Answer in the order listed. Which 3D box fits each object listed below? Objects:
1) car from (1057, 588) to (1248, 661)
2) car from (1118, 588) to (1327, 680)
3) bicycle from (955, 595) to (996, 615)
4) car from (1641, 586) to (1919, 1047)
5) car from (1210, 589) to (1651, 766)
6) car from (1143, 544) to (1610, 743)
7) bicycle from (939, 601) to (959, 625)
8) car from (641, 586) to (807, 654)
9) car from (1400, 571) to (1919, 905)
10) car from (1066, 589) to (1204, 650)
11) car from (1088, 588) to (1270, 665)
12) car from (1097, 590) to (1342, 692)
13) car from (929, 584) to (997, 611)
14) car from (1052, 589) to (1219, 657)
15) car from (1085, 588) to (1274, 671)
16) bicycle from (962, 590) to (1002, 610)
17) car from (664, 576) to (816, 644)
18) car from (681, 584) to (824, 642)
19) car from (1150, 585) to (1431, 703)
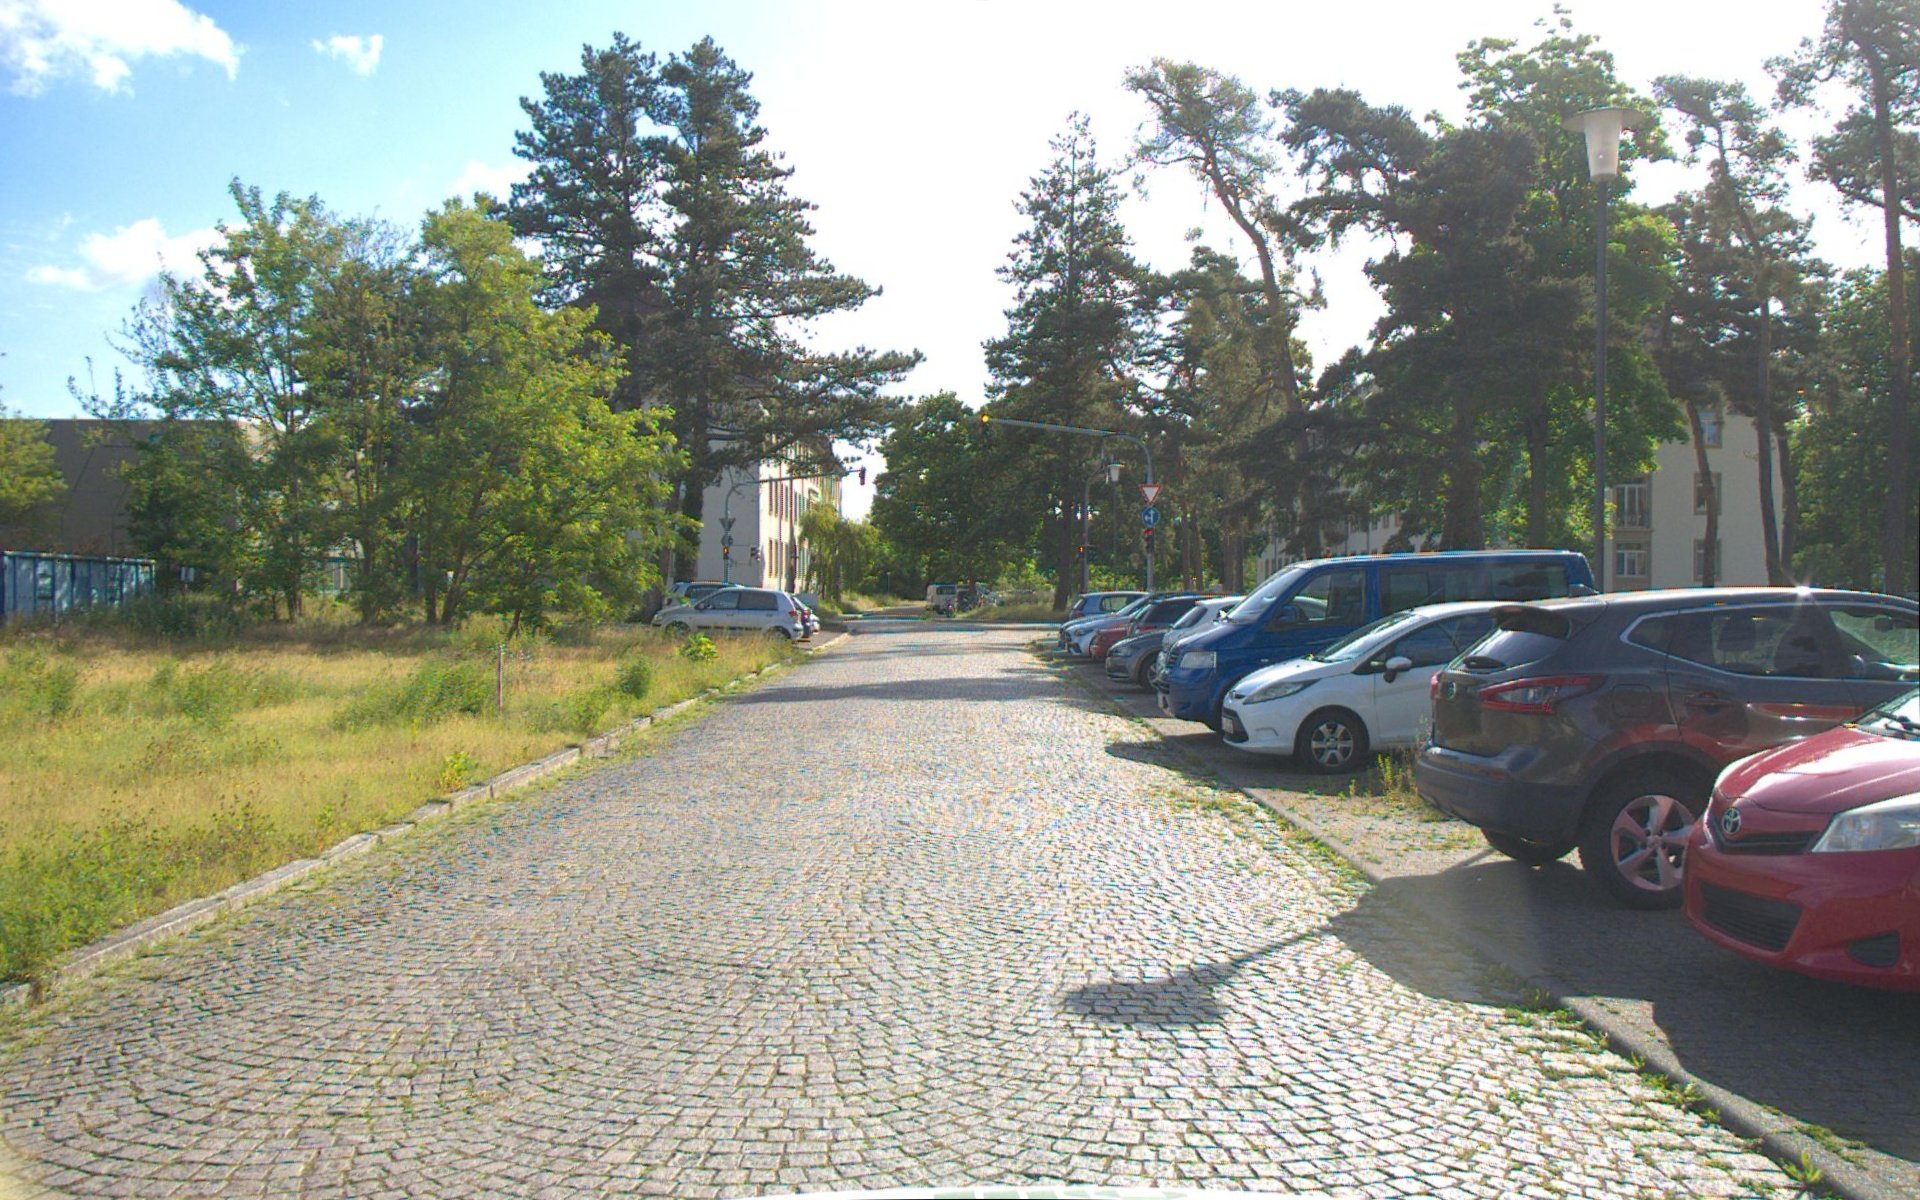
[{"bbox_3d":[4.200,0.519,36.415,3.955,1.556,1.644,0,0,-4],"label":"car"},{"bbox_3d":[4.591,0.574,29.189,3.408,1.556,1.645,0,0,-2],"label":"car"},{"bbox_3d":[0.845,0.274,90.779,2.134,1.119,0.805,1,0,-11],"label":"bicycle"},{"bbox_3d":[4.829,0.723,6.444,3.686,1.557,1.645,0,0,-1],"label":"car"},{"bbox_3d":[4.321,0.679,15.523,3.645,1.514,1.644,-1,0,-3],"label":"car"},{"bbox_3d":[4.458,0.432,18.203,4.584,2.049,2.082,0,0,-4],"label":"car"},{"bbox_3d":[-0.594,0.668,87.302,0.789,1.190,2.177,-2,1,-6],"label":"bicycle"},{"bbox_3d":[-5.782,0.463,40.930,3.908,1.628,1.999,0,0,-3],"label":"car"},{"bbox_3d":[4.587,0.671,9.108,3.856,1.650,1.771,0,0,-2],"label":"car"},{"bbox_3d":[4.392,0.480,41.830,3.276,1.508,1.645,0,0,-2],"label":"car"},{"bbox_3d":[4.501,0.534,34.340,3.530,1.556,1.645,0,0,-2],"label":"car"},{"bbox_3d":[4.063,0.626,26.264,3.601,1.493,1.645,-1,0,-2],"label":"car"},{"bbox_3d":[0.179,-0.167,108.242,4.389,1.758,2.000,1,0,-1],"label":"car"},{"bbox_3d":[4.121,0.522,39.186,3.758,1.556,1.645,0,0,-2],"label":"car"},{"bbox_3d":[4.190,0.552,31.876,3.408,1.556,1.645,0,0,-2],"label":"car"},{"bbox_3d":[1.225,-0.006,92.066,2.134,1.119,0.805,1,0,-11],"label":"bicycle"},{"bbox_3d":[-6.111,0.278,46.315,3.906,1.629,2.000,3,0,-1],"label":"car"},{"bbox_3d":[-6.067,0.364,48.716,3.906,1.478,2.000,3,0,-1],"label":"car"},{"bbox_3d":[4.599,0.598,23.383,3.618,1.491,1.645,-2,0,0],"label":"car"}]
